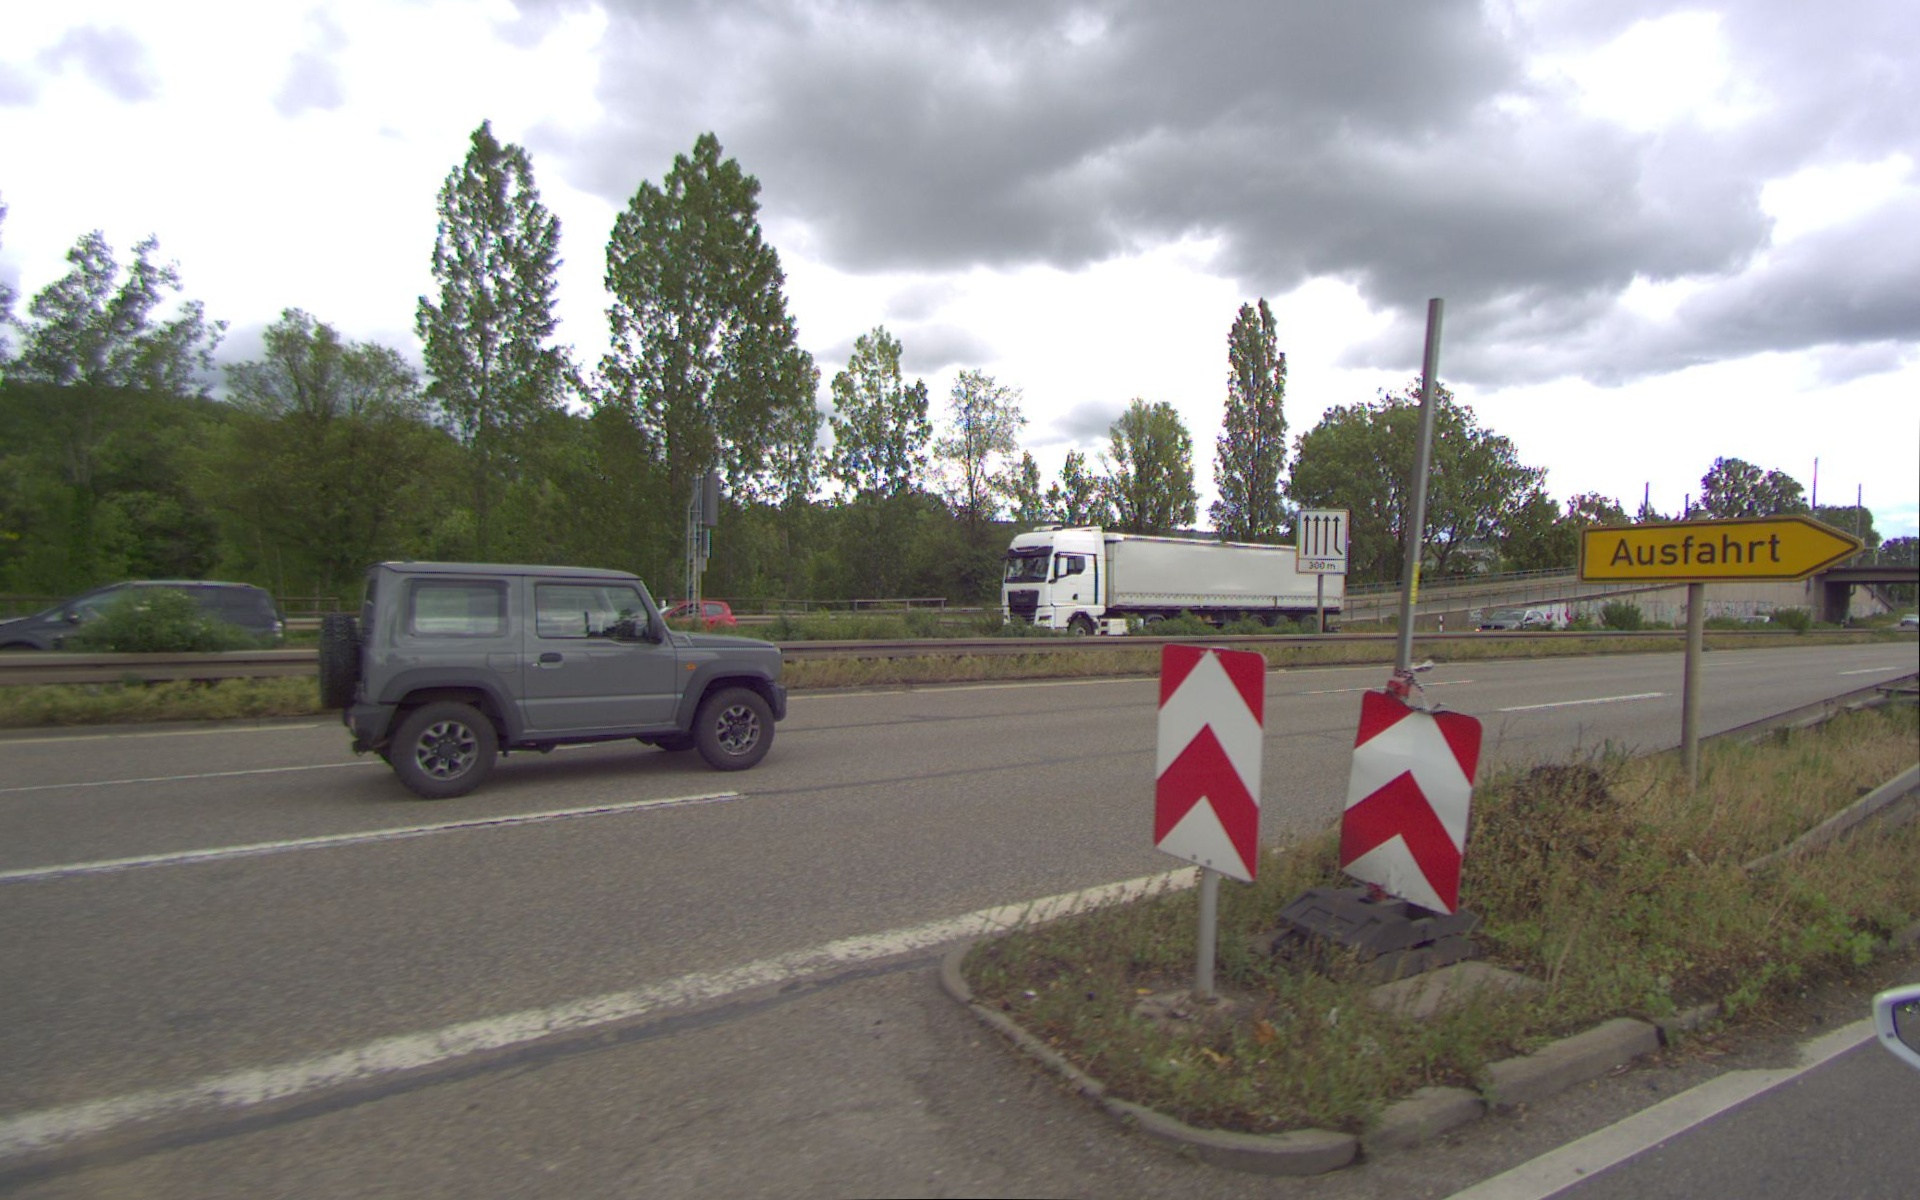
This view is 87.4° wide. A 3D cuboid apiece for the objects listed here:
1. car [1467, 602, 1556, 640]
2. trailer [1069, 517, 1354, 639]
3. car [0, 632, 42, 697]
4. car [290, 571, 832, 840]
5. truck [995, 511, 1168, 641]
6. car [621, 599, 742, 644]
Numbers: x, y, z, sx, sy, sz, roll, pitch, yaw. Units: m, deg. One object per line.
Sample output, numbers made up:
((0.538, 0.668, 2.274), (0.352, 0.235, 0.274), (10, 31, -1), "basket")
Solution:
((24.252, 0.899, 44.158), (3.963, 1.543, 1.979), (1, 2, -37), "car")
((10.016, -0.735, 38.306), (13.390, 4.002, 2.769), (0, 2, -38), "trailer")
((-16.027, 1.059, 14.687), (3.578, 0.944, 1.641), (-3, 1, -35), "car")
((-3.214, 0.685, 8.431), (3.960, 1.759, 1.669), (0, 0, -36), "car")
((4.119, -0.777, 33.713), (5.264, 3.990, 2.768), (0, 2, -38), "truck")
((-9.255, 0.685, 33.478), (3.582, 1.379, 1.639), (-1, 1, -37), "car")
